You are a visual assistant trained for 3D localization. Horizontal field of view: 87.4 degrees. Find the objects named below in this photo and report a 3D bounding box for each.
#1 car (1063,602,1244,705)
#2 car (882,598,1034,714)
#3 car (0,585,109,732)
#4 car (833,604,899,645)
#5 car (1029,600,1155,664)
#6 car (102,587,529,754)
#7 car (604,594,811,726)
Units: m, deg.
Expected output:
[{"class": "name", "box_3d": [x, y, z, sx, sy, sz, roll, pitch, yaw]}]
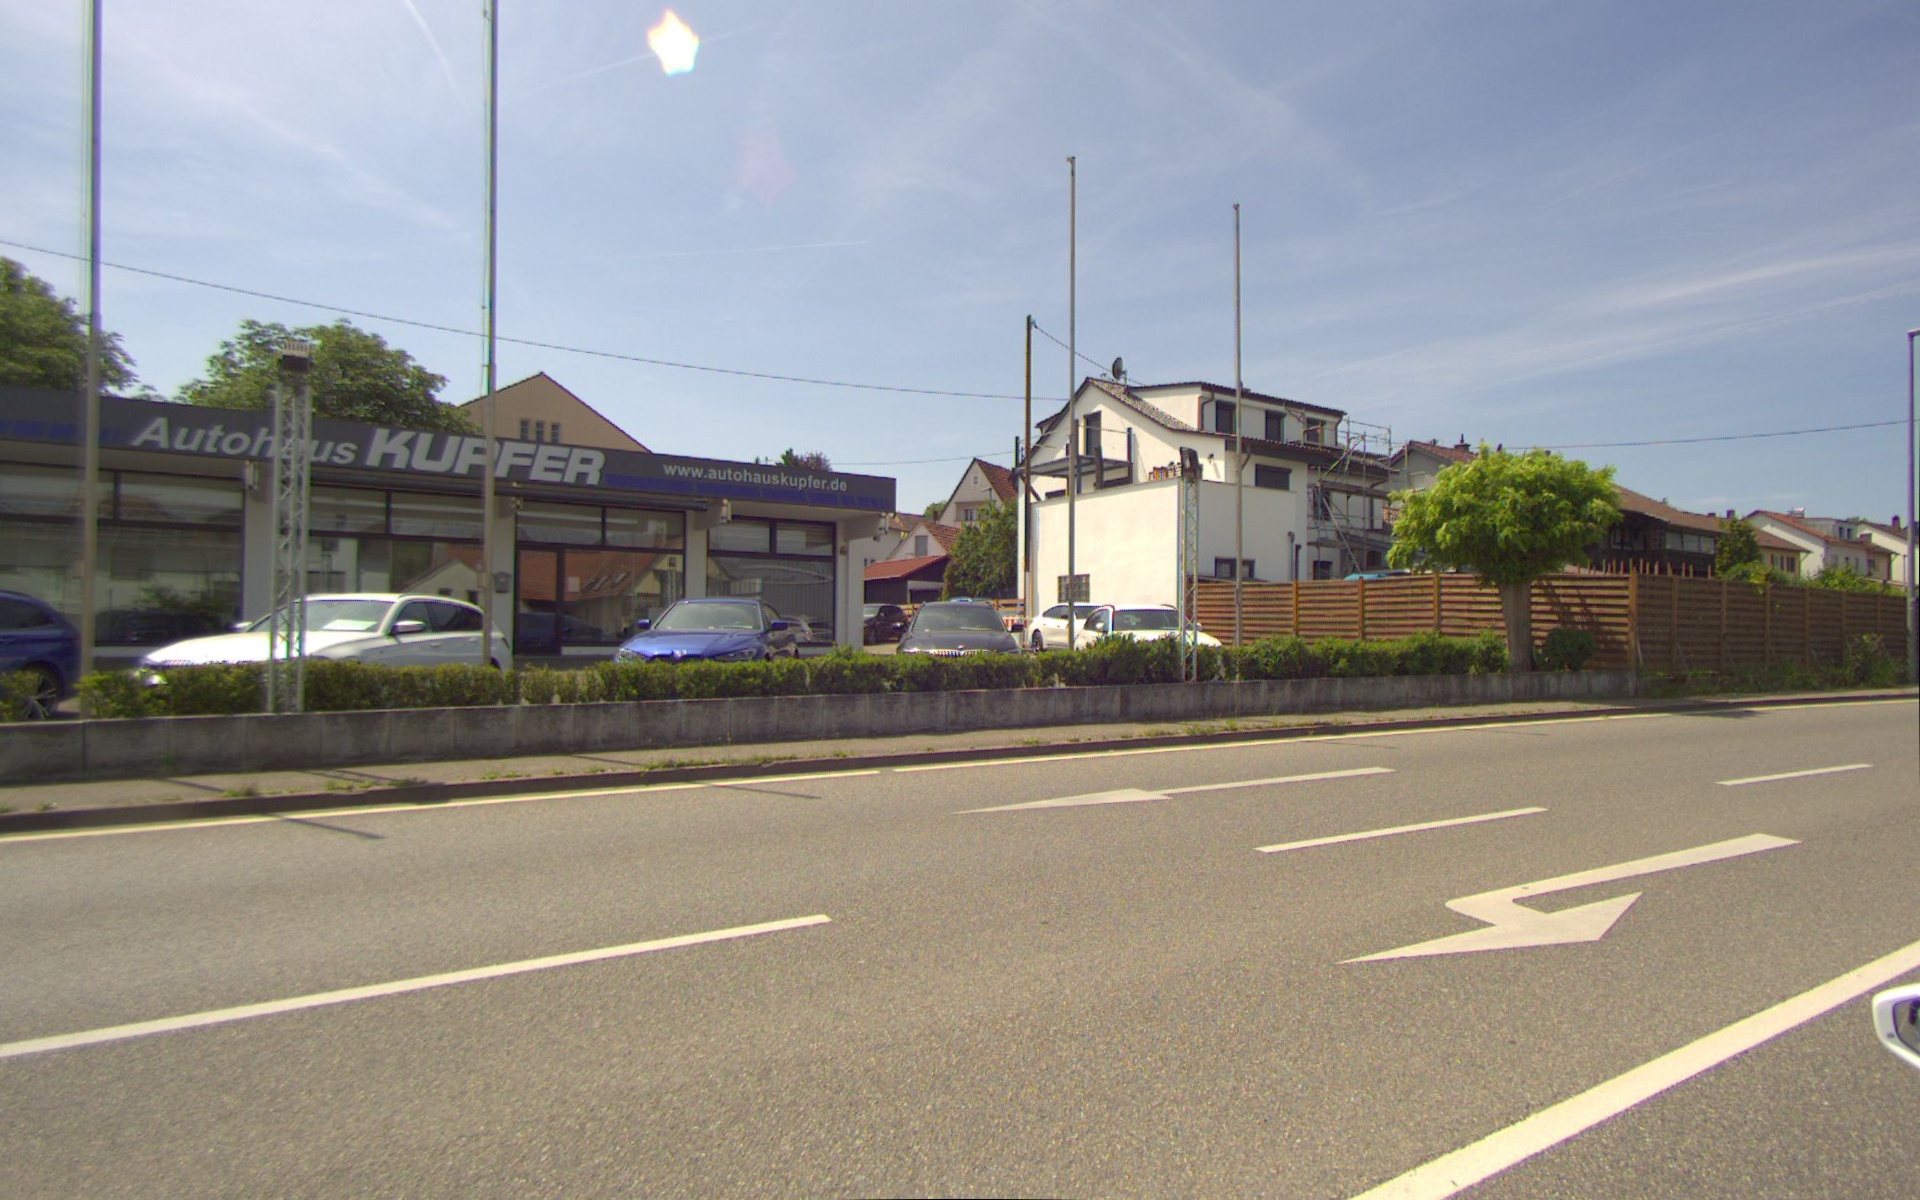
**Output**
[{"class": "car", "box_3d": [3.110, 0.809, 17.093, 1.822, 1.467, 4.338, 2, 0, -6]}, {"class": "car", "box_3d": [-0.182, 0.742, 15.393, 1.863, 1.467, 4.338, 2, 0, -6]}, {"class": "car", "box_3d": [-10.556, 0.568, 9.237, 1.821, 1.467, 4.341, 2, 0, -2]}, {"class": "car", "box_3d": [-3.621, 0.898, 38.101, 1.685, 1.420, 3.984, 1, 0, -17]}, {"class": "car", "box_3d": [3.382, 0.790, 26.513, 1.806, 1.530, 3.984, 1, 0, -17]}, {"class": "car", "box_3d": [-6.788, 0.633, 11.318, 1.820, 1.467, 4.516, 1, 0, 1]}, {"class": "car", "box_3d": [-3.234, 0.705, 13.760, 1.821, 1.467, 4.341, 2, 0, -2]}]
